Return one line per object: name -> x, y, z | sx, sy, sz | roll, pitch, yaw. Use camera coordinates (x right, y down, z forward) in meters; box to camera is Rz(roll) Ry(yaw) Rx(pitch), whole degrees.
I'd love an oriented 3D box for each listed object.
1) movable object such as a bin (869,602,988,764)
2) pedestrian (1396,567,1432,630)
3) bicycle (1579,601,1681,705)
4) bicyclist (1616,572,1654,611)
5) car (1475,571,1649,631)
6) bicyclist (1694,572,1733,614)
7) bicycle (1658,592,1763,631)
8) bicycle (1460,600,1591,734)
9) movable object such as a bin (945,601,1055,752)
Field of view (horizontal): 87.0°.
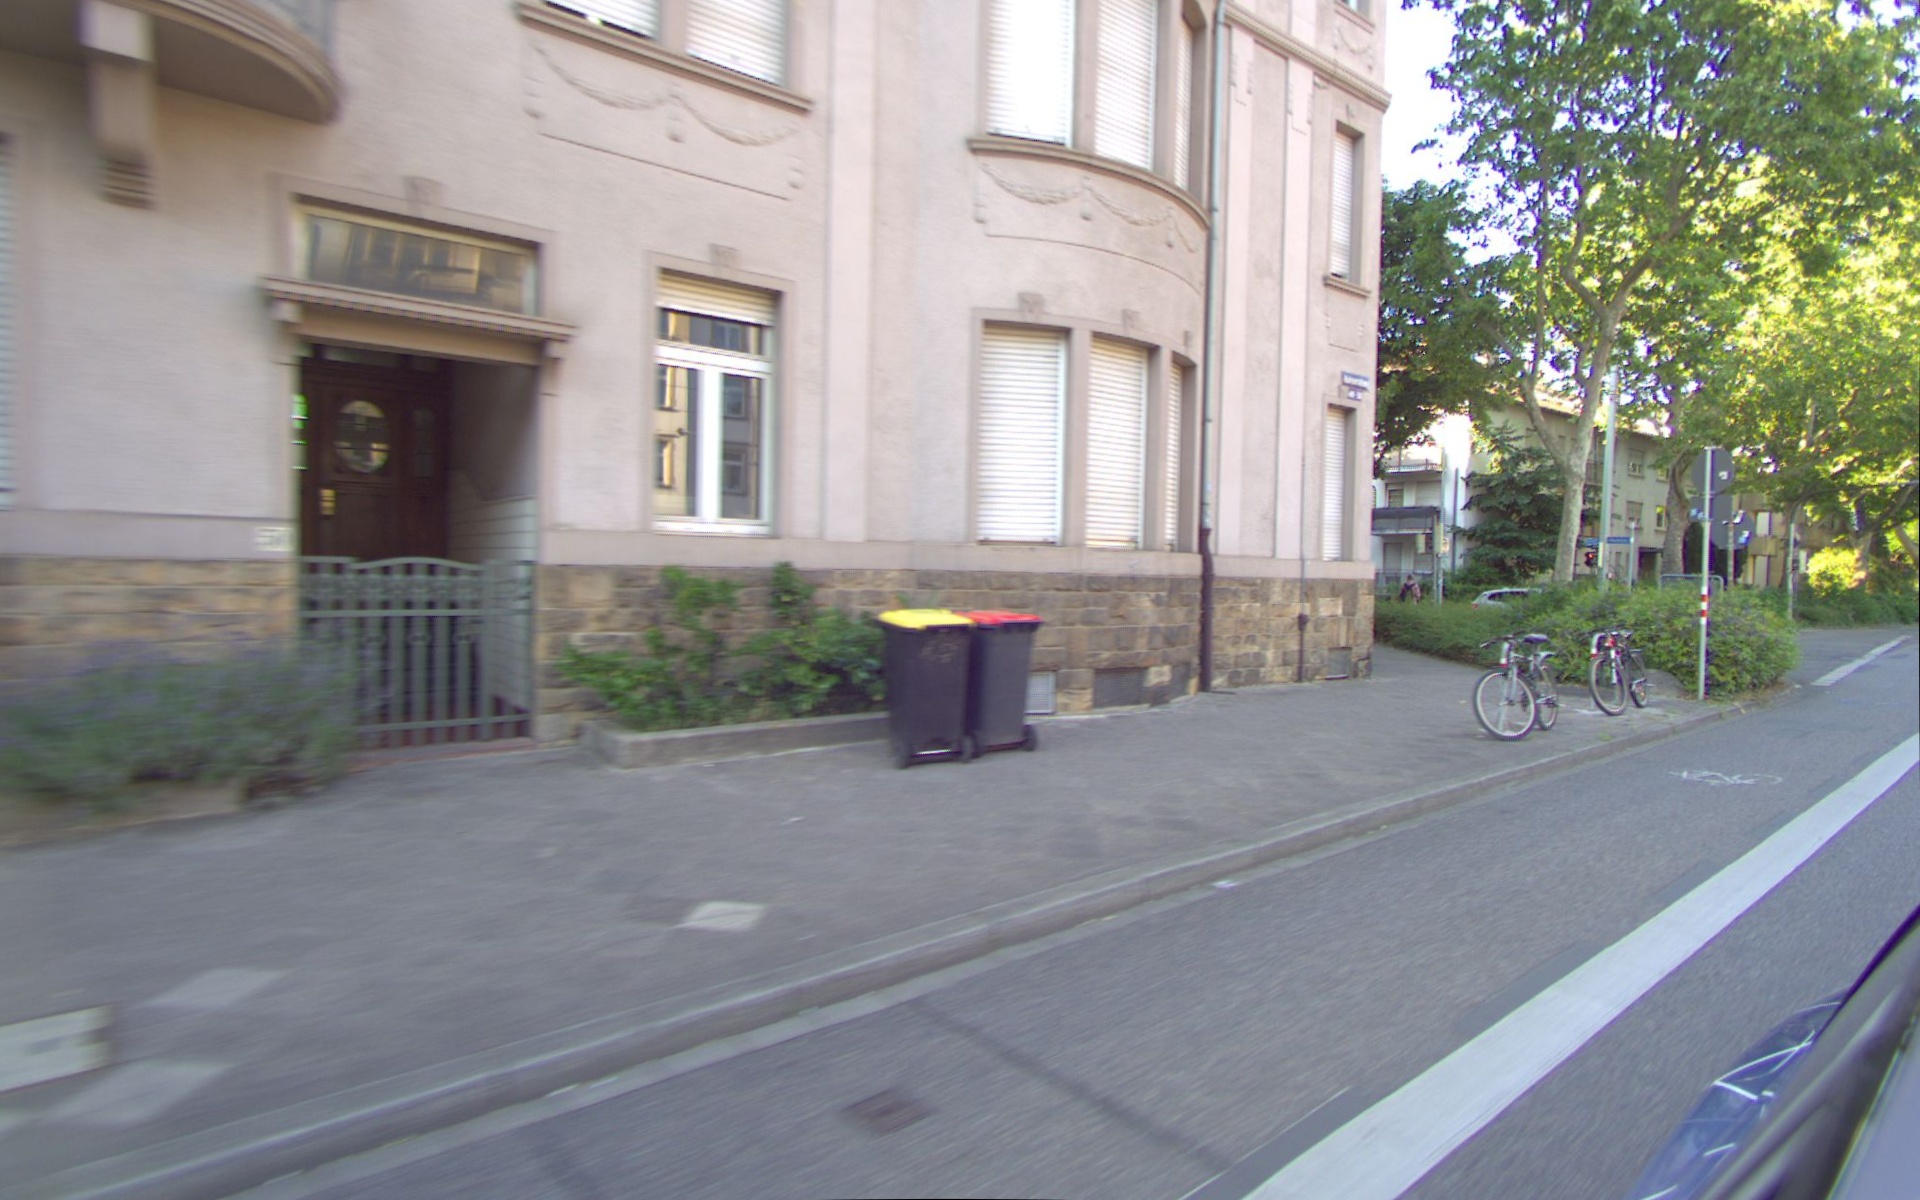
movable object such as a bin -> -0.237, 0.566, 7.276 | 0.645, 1.059, 0.659 | -1, 2, -24
pedestrian -> 13.426, -0.055, 29.918 | 0.688, 1.828, 0.667 | -1, 2, -29
bicycle -> 7.584, 0.565, 11.428 | 1.840, 1.082, 0.371 | 0, 2, -38
bicyclist -> 20.793, -0.278, 31.167 | 0.600, 1.172, 0.768 | -1, 3, -33
car -> 17.643, -0.030, 29.850 | 1.746, 1.544, 4.061 | -1, 3, -31
bicyclist -> 23.286, -0.224, 31.276 | 0.648, 1.251, 0.768 | -1, 3, -33
bicycle -> 23.213, 0.336, 31.376 | 0.640, 1.118, 2.554 | -1, 2, -33
bicycle -> 5.306, 0.575, 9.441 | 1.899, 1.112, 0.437 | 0, 2, -42
movable object such as a bin -> 0.296, 0.556, 7.702 | 0.645, 1.059, 0.572 | -1, 2, -24
